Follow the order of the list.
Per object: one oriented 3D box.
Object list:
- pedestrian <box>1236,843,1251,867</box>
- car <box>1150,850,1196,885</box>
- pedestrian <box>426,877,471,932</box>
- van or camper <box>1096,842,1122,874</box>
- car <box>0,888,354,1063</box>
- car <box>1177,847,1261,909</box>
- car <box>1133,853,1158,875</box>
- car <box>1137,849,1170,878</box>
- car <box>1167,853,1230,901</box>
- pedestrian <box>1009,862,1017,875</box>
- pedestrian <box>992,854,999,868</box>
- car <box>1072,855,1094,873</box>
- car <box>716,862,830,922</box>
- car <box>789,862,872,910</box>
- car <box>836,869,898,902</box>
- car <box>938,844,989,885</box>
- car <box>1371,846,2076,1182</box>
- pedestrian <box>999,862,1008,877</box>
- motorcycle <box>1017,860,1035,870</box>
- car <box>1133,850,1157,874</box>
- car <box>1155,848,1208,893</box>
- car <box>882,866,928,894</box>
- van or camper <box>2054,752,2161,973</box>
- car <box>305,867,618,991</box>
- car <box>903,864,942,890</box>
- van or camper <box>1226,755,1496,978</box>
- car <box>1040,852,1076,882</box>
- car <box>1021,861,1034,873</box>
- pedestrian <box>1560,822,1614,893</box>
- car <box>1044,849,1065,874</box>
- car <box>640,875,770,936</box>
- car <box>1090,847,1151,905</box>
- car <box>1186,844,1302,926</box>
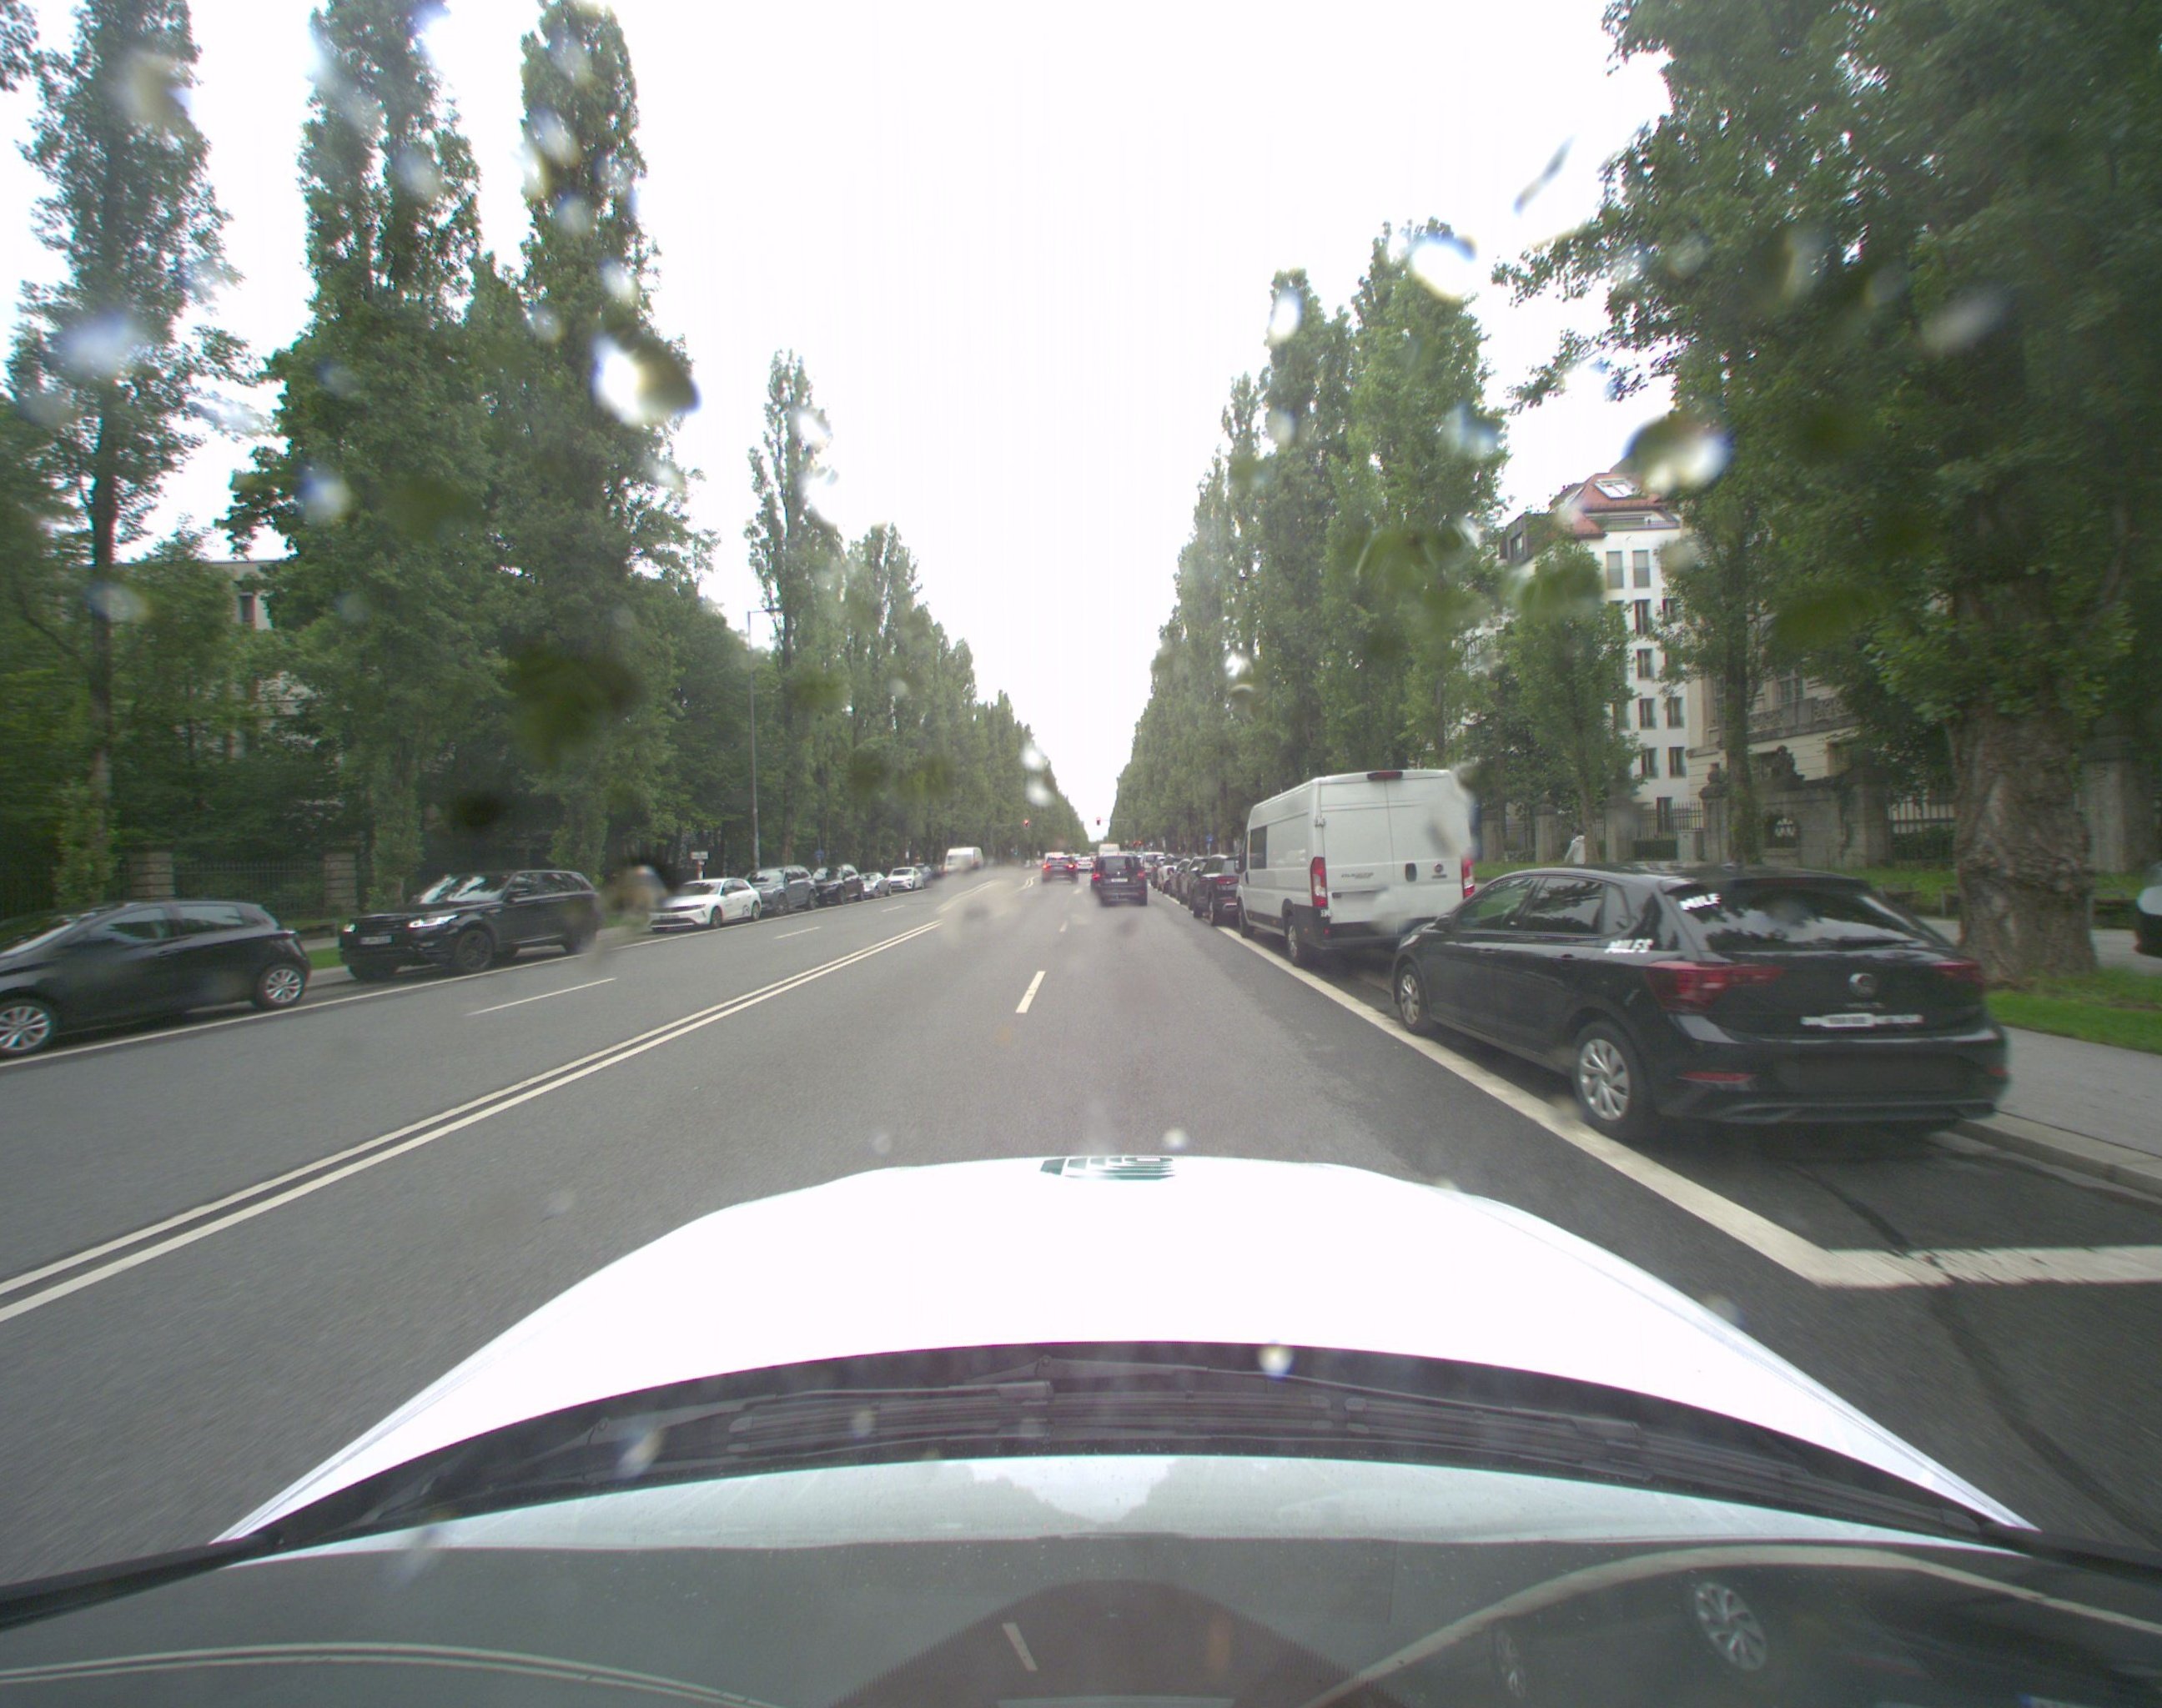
[{"bbox_3d":[11.745,0.060,58.945,0.850,1.717,0.867,-4,-1,1],"label":"pedestrian"},{"bbox_3d":[4.426,0.613,39.706,1.873,1.540,4.467,-2,0,2],"label":"car"},{"bbox_3d":[-20.791,1.647,26.789,0.663,1.741,0.957,-2,0,2],"label":"pedestrian"},{"bbox_3d":[2.329,0.340,68.370,1.969,2.548,4.024,-2,0,0],"label":"van or camper"},{"bbox_3d":[-11.690,1.356,9.692,1.937,1.583,4.391,-4,0,2],"label":"car"},{"bbox_3d":[4.005,0.636,24.354,1.777,1.618,4.639,-2,0,2],"label":"car"},{"bbox_3d":[4.988,0.774,63.615,1.734,1.593,4.213,-2,0,2],"label":"car"},{"bbox_3d":[4.982,0.638,56.448,1.845,1.881,4.167,-2,0,0],"label":"car"},{"bbox_3d":[4.152,0.769,29.381,1.696,1.520,4.296,-2,0,2],"label":"car"},{"bbox_3d":[-9.616,2.083,114.631,0.967,1.767,0.678,-2,0,-20],"label":"pedestrian"},{"bbox_3d":[-9.738,0.777,92.656,0.657,1.577,0.530,-3,0,2],"label":"pedestrian"},{"bbox_3d":[0.196,0.912,77.639,1.987,1.560,4.001,-2,0,1],"label":"car"},{"bbox_3d":[-11.015,1.293,29.574,1.902,1.789,5.181,-5,0,1],"label":"car"},{"bbox_3d":[-10.764,1.327,35.441,1.934,1.767,4.895,-5,0,0],"label":"car"},{"bbox_3d":[-10.703,1.550,40.970,1.820,1.334,4.234,-5,0,1],"label":"car"},{"bbox_3d":[-7.921,0.678,55.693,2.220,2.483,6.759,-4,0,1],"label":"car"},{"bbox_3d":[3.554,0.712,5.601,1.671,1.420,4.000,-2,0,0],"label":"car"},{"bbox_3d":[-9.751,1.928,102.858,0.967,1.791,0.678,-2,0,-20],"label":"pedestrian"},{"bbox_3d":[-7.964,1.608,118.140,2.354,1.269,0.930,-2,0,2],"label":"motorcycle"},{"bbox_3d":[5.407,0.628,69.061,1.729,1.895,4.026,-2,0,2],"label":"car"},{"bbox_3d":[4.171,0.644,34.316,1.736,1.675,4.581,-2,0,2],"label":"car"},{"bbox_3d":[-10.657,1.534,49.679,1.765,1.452,4.233,-5,0,0],"label":"car"},{"bbox_3d":[10.388,0.054,5.375,1.968,1.933,5.039,-1,0,1],"label":"van or camper"},{"bbox_3d":[-11.395,1.258,15.574,2.038,1.786,4.802,-4,0,2],"label":"car"},{"bbox_3d":[-10.441,1.510,53.892,1.704,1.451,3.585,-5,0,0],"label":"car"},{"bbox_3d":[3.865,0.157,12.790,2.131,2.540,6.420,-2,0,2],"label":"van or camper"},{"bbox_3d":[-1.243,0.711,46.176,1.774,1.620,4.026,0,0,2],"label":"car"},{"bbox_3d":[-8.313,2.051,126.437,1.682,1.783,3.776,-2,0,2],"label":"car"},{"bbox_3d":[13.209,0.091,21.290,0.792,1.768,0.895,-2,0,1],"label":"pedestrian"},{"bbox_3d":[-2.323,0.658,72.586,1.776,2.111,4.022,-2,0,-1],"label":"car"},{"bbox_3d":[-11.033,1.452,24.273,1.698,1.459,4.274,-4,0,1],"label":"car"},{"bbox_3d":[1.265,0.673,26.780,1.848,1.770,4.002,0,0,2],"label":"car"},{"bbox_3d":[3.698,0.641,19.244,1.779,1.648,4.416,-2,0,0],"label":"car"}]
